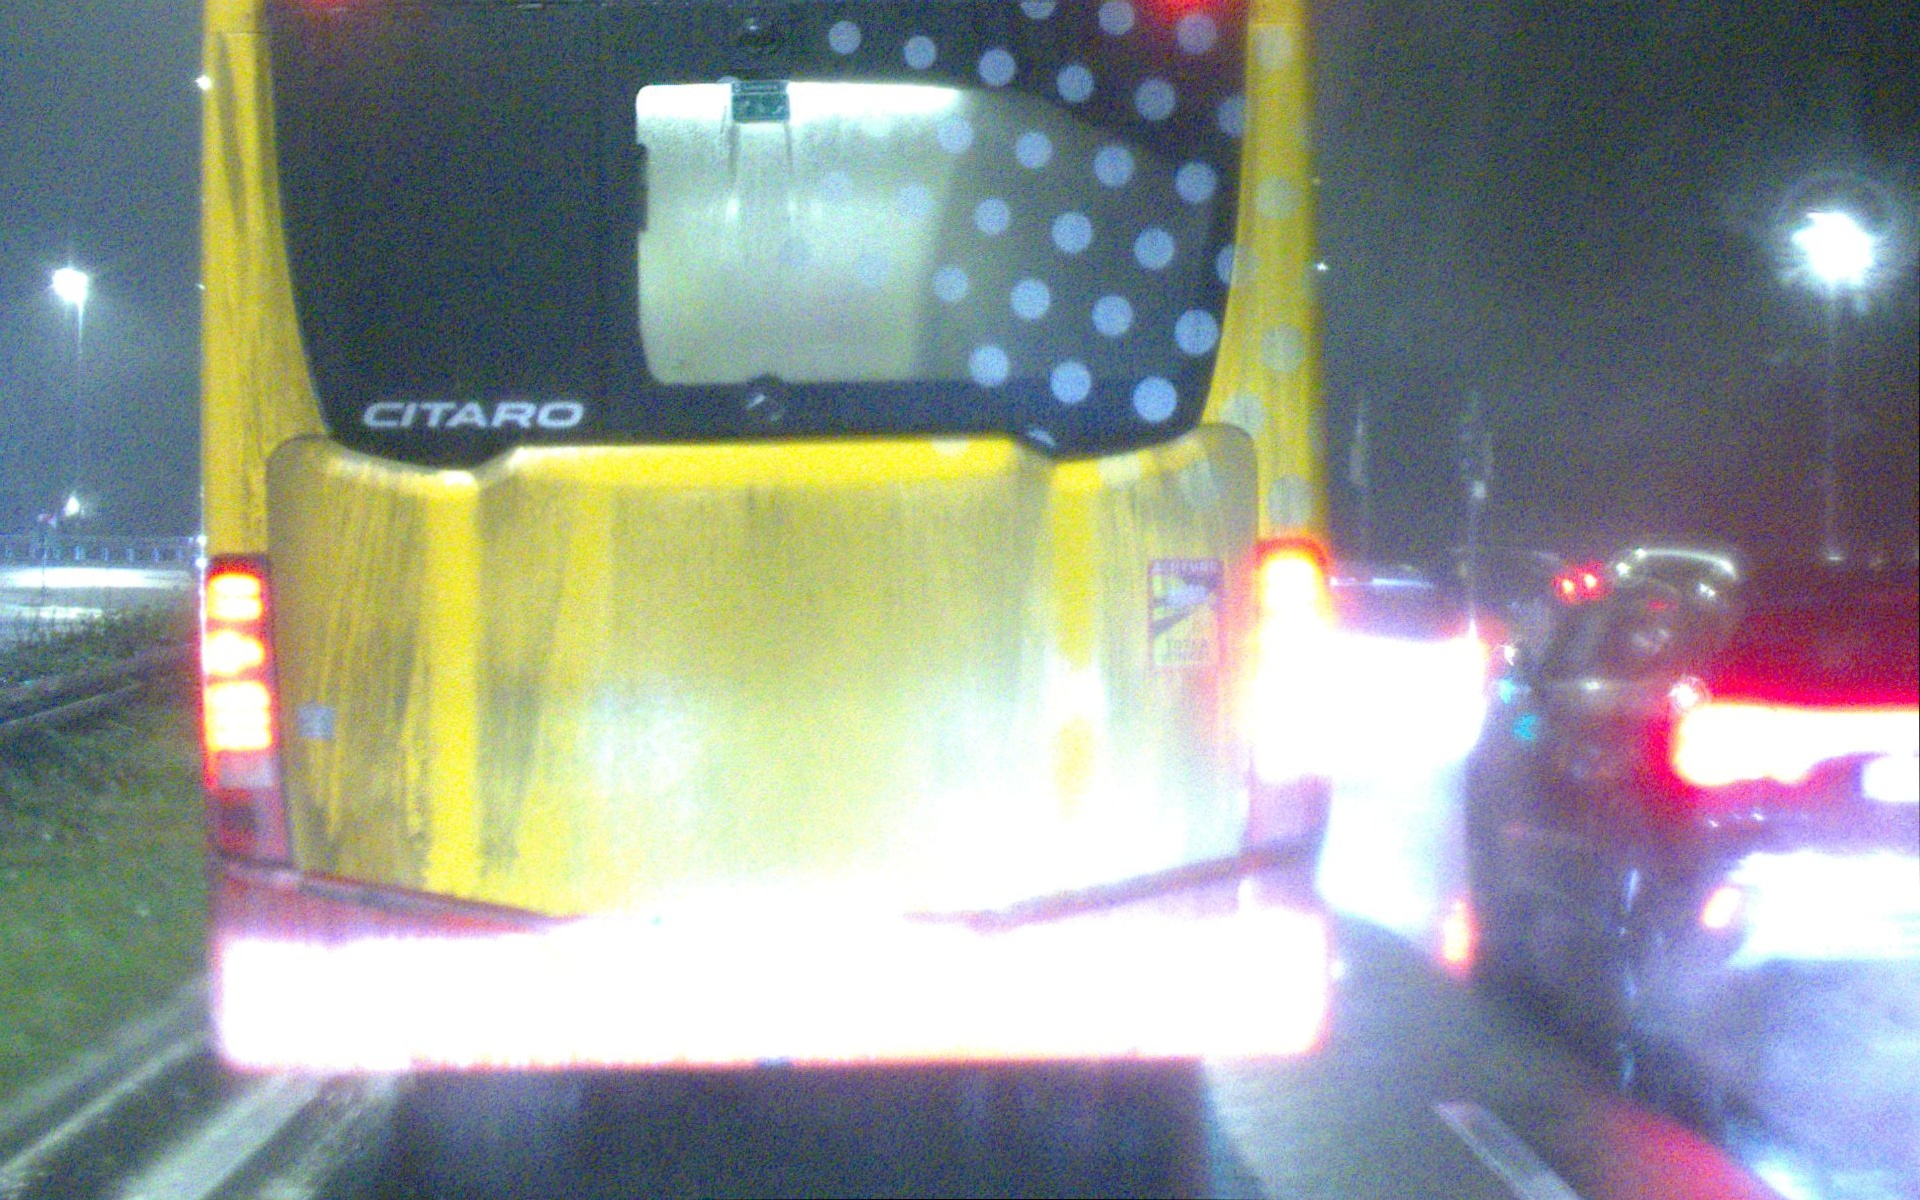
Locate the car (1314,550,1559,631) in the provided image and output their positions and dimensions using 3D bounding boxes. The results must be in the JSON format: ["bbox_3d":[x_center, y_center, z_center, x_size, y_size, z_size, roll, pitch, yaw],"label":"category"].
[{"bbox_3d":[8.606,-0.179,62.253,4.041,1.341,1.748,1,2,-8],"label":"car"}]

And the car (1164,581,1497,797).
[{"bbox_3d":[2.455,0.567,23.673,1.686,1.326,3.960,-1,0,-2],"label":"car"}]

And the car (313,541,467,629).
[{"bbox_3d":[-11.100,-0.296,66.790,2.088,1.638,3.731,1,0,-24],"label":"car"}]

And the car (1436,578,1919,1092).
[{"bbox_3d":[2.906,0.703,12.208,1.677,1.516,3.961,1,0,-3],"label":"car"}]

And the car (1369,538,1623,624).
[{"bbox_3d":[10.365,-0.377,66.665,4.482,1.513,1.857,1,2,-8],"label":"car"}]

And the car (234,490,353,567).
[{"bbox_3d":[-15.721,-1.654,80.961,1.993,1.715,4.001,1,0,-22],"label":"car"}]

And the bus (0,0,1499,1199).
[{"bbox_3d":[-0.905,-0.249,11.882,3.284,3.040,9.546,0,2,-5],"label":"bus"}]
